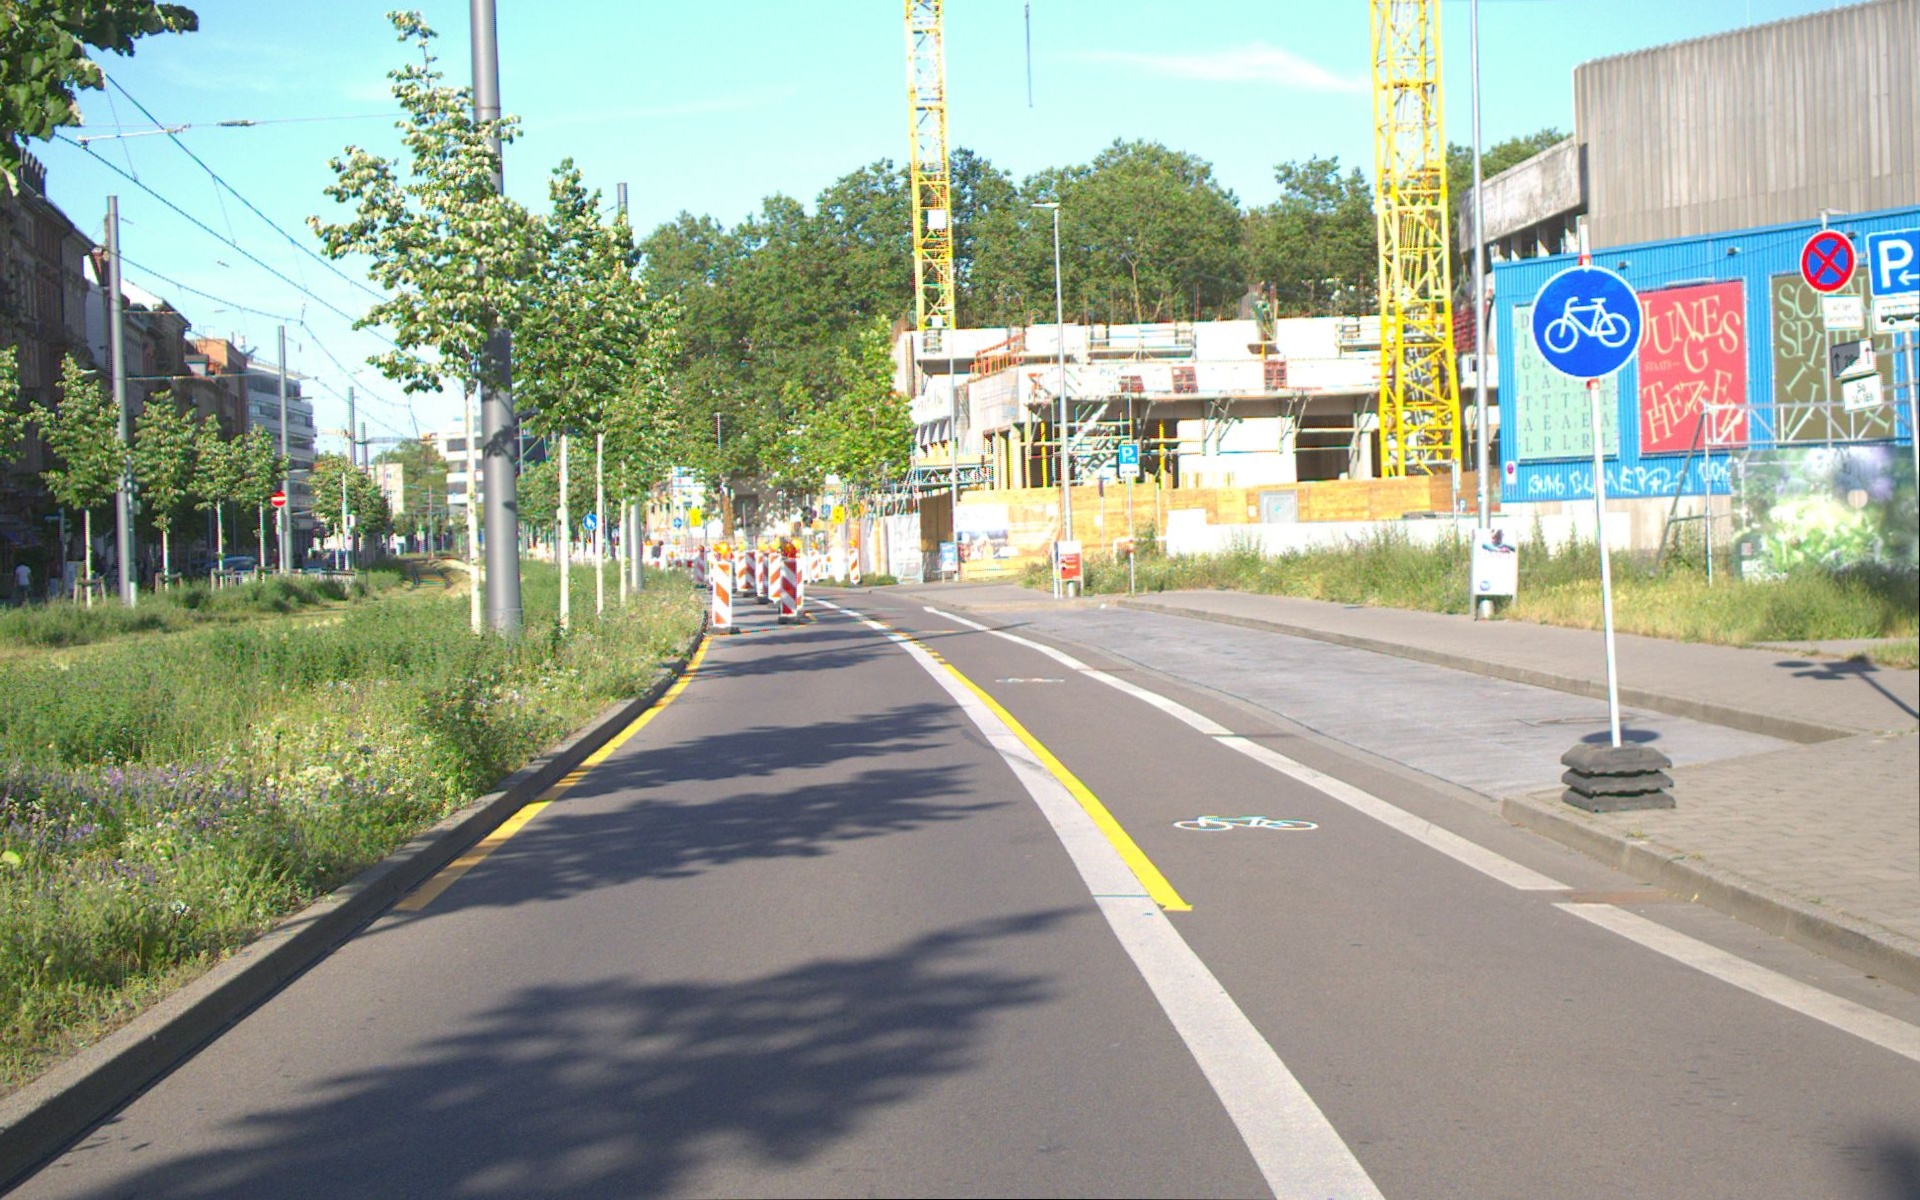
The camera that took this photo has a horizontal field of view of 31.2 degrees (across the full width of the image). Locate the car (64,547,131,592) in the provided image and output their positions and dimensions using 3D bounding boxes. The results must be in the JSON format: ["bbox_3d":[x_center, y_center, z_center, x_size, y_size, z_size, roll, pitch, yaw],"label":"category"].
[{"bbox_3d":[-32.014,-1.146,127.669,1.903,1.570,4.302,-2,1,-8],"label":"car"}]

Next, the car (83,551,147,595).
[{"bbox_3d":[-32.610,-1.049,132.691,1.903,1.570,4.302,-2,1,-8],"label":"car"}]

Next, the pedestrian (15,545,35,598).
[{"bbox_3d":[-34.154,-1.046,125.594,0.550,1.940,0.650,-2,1,-9],"label":"pedestrian"}]

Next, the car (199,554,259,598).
[{"bbox_3d":[-27.905,-0.915,131.301,1.903,1.570,4.302,-2,1,-8],"label":"car"}]
